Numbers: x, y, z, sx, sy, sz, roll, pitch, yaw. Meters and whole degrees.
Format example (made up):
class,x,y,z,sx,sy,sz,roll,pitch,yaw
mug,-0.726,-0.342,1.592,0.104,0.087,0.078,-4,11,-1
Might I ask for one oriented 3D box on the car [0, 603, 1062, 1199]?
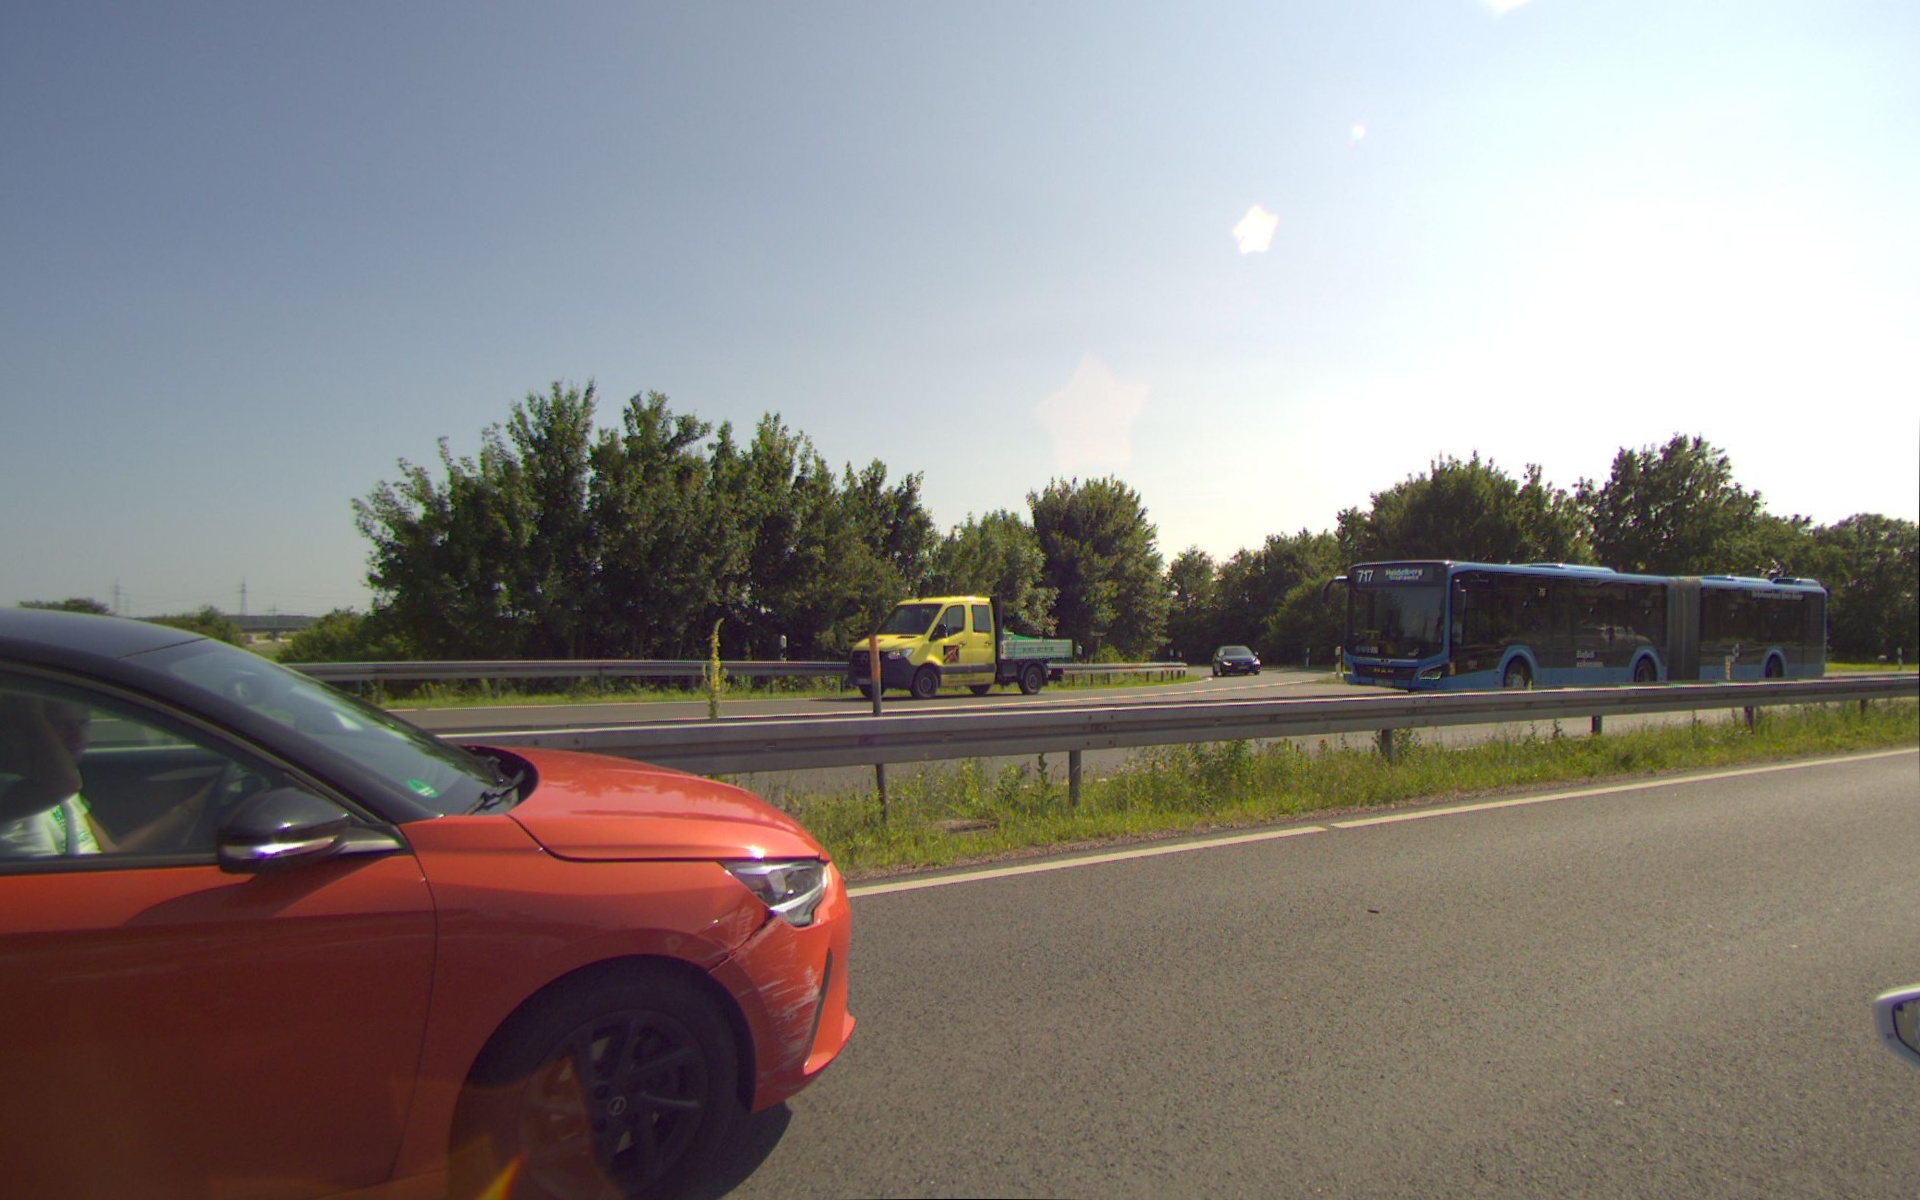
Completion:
class,x,y,z,sx,sy,sz,roll,pitch,yaw
car,-2.001,0.741,2.527,4.361,1.456,1.700,1,-1,-31

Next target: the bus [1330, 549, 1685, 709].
class,x,y,z,sx,sy,sz,roll,pitch,yaw
bus,12.957,0.679,23.370,9.721,3.151,2.712,1,-1,-31

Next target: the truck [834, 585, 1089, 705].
class,x,y,z,sx,sy,sz,roll,pitch,yaw
truck,0.236,1.103,24.052,2.105,2.485,6.576,-4,-5,44

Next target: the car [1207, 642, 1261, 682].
class,x,y,z,sx,sy,sz,roll,pitch,yaw
car,13.556,3.022,49.884,1.803,1.723,4.755,1,-1,6

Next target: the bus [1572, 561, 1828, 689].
class,x,y,z,sx,sy,sz,roll,pitch,yaw
bus,20.744,0.718,27.989,8.295,3.151,2.712,1,-1,-30
